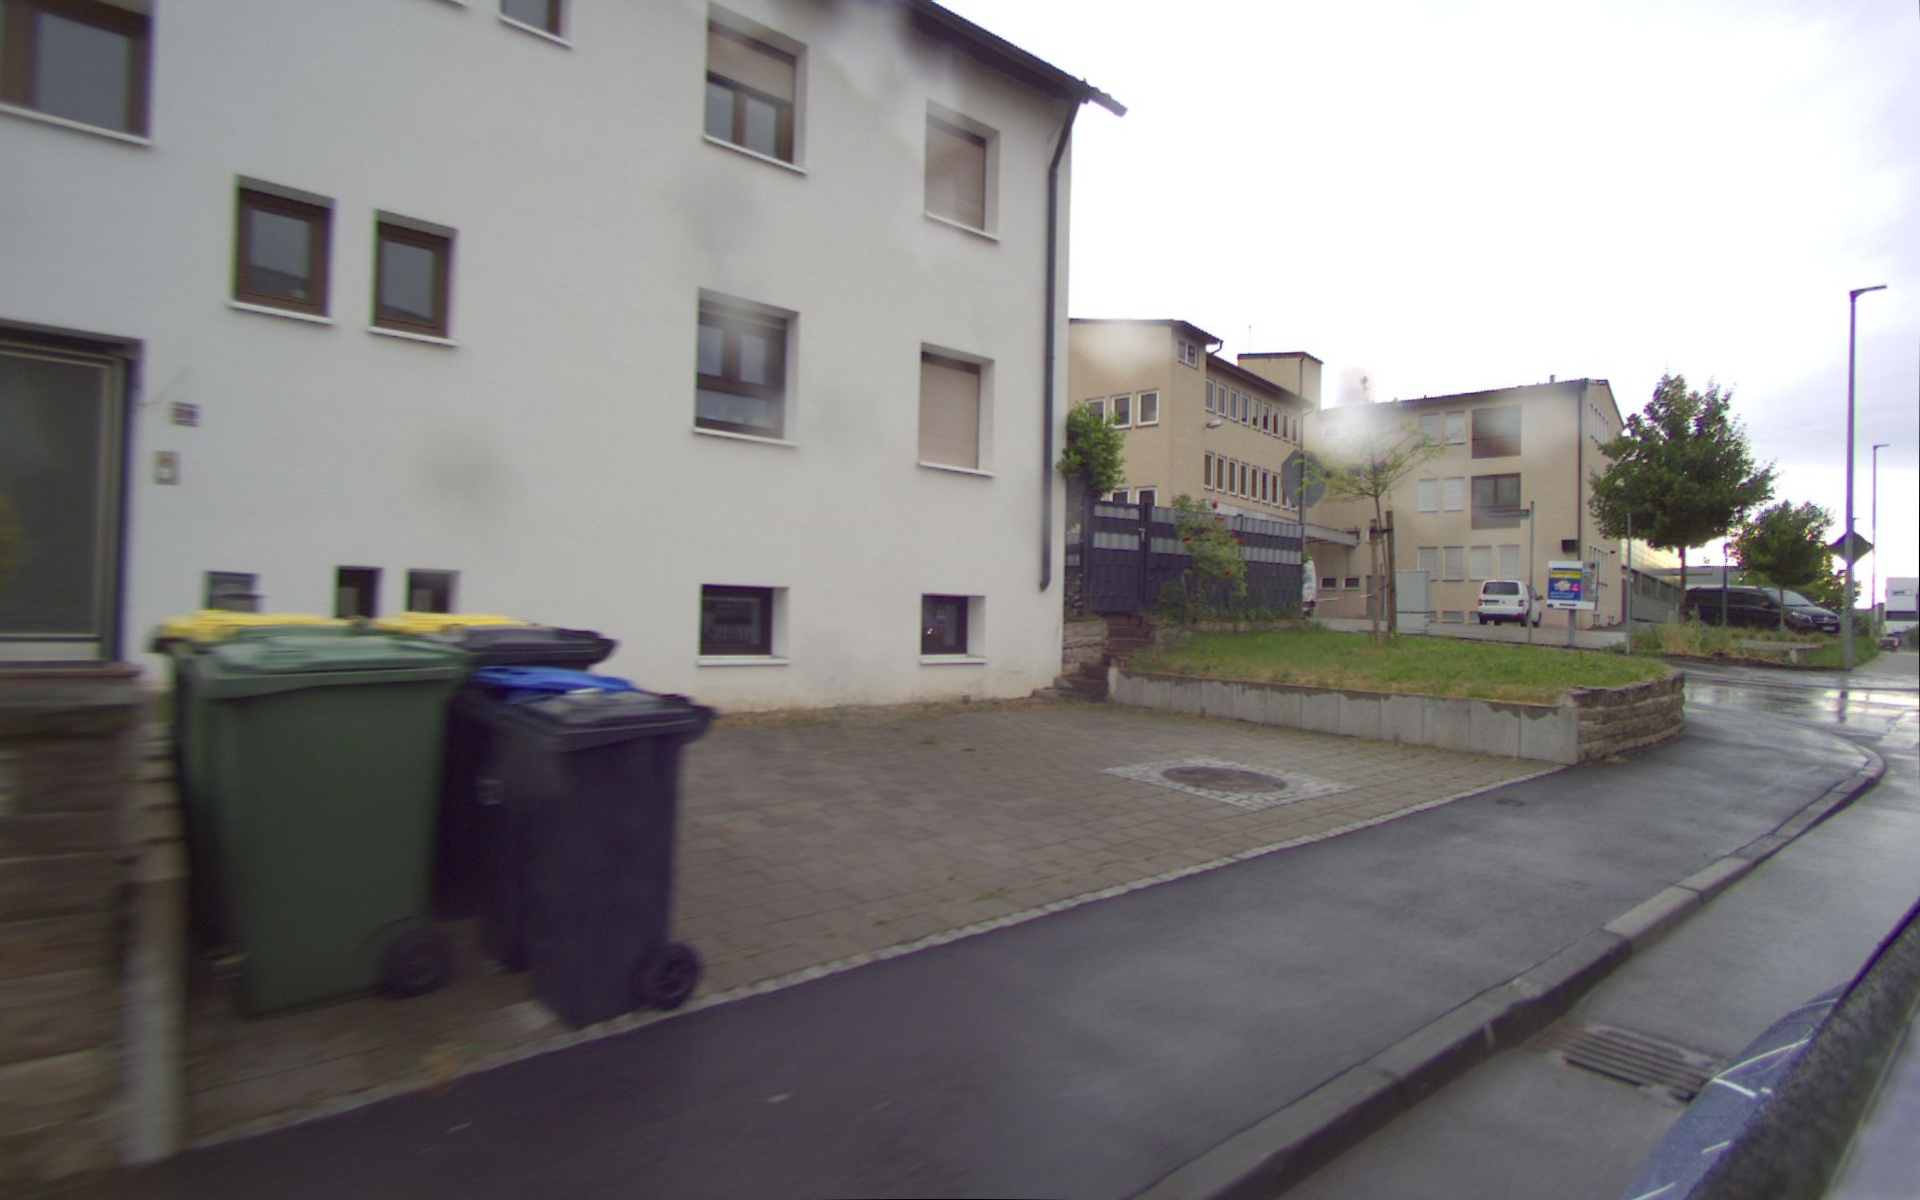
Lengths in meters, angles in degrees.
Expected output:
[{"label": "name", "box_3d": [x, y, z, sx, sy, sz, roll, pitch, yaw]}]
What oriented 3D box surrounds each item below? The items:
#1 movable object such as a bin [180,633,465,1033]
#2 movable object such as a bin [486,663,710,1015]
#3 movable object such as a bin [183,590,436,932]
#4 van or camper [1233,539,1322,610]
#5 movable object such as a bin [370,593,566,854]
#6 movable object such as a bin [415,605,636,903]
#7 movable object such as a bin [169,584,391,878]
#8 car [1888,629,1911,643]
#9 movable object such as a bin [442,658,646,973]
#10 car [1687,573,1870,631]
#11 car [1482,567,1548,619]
[{"label": "movable object such as a bin", "box_3d": [-1.906, 0.630, 3.043, 0.621, 1.041, 0.425, 4, -4, -42]}, {"label": "movable object such as a bin", "box_3d": [-1.115, 0.678, 3.129, 0.499, 0.953, 0.425, 4, -4, -42]}, {"label": "movable object such as a bin", "box_3d": [-2.250, 0.505, 3.506, 0.621, 1.041, 0.545, 4, -4, -42]}, {"label": "van or camper", "box_3d": [13.329, -0.955, 42.182, 1.984, 2.570, 6.526, 0, -2, 32]}, {"label": "movable object such as a bin", "box_3d": [-2.168, 0.511, 4.468, 0.621, 1.041, 0.529, 4, -4, -42]}, {"label": "movable object such as a bin", "box_3d": [-1.705, 0.556, 3.978, 0.621, 1.041, 0.545, 4, -4, -42]}, {"label": "movable object such as a bin", "box_3d": [-2.699, 0.480, 4.019, 0.621, 1.041, 0.545, 4, -4, -42]}, {"label": "car", "box_3d": [111.996, 4.327, 120.710, 1.849, 1.575, 4.433, -1, -3, 41]}, {"label": "movable object such as a bin", "box_3d": [-1.419, 0.684, 3.460, 0.499, 0.953, 0.425, 4, -4, -42]}, {"label": "car", "box_3d": [30.094, 0.015, 37.461, 2.011, 1.943, 5.126, 2, 1, -11]}, {"label": "car", "box_3d": [24.432, -0.255, 44.512, 1.790, 2.040, 4.534, -1, -3, 39]}]
